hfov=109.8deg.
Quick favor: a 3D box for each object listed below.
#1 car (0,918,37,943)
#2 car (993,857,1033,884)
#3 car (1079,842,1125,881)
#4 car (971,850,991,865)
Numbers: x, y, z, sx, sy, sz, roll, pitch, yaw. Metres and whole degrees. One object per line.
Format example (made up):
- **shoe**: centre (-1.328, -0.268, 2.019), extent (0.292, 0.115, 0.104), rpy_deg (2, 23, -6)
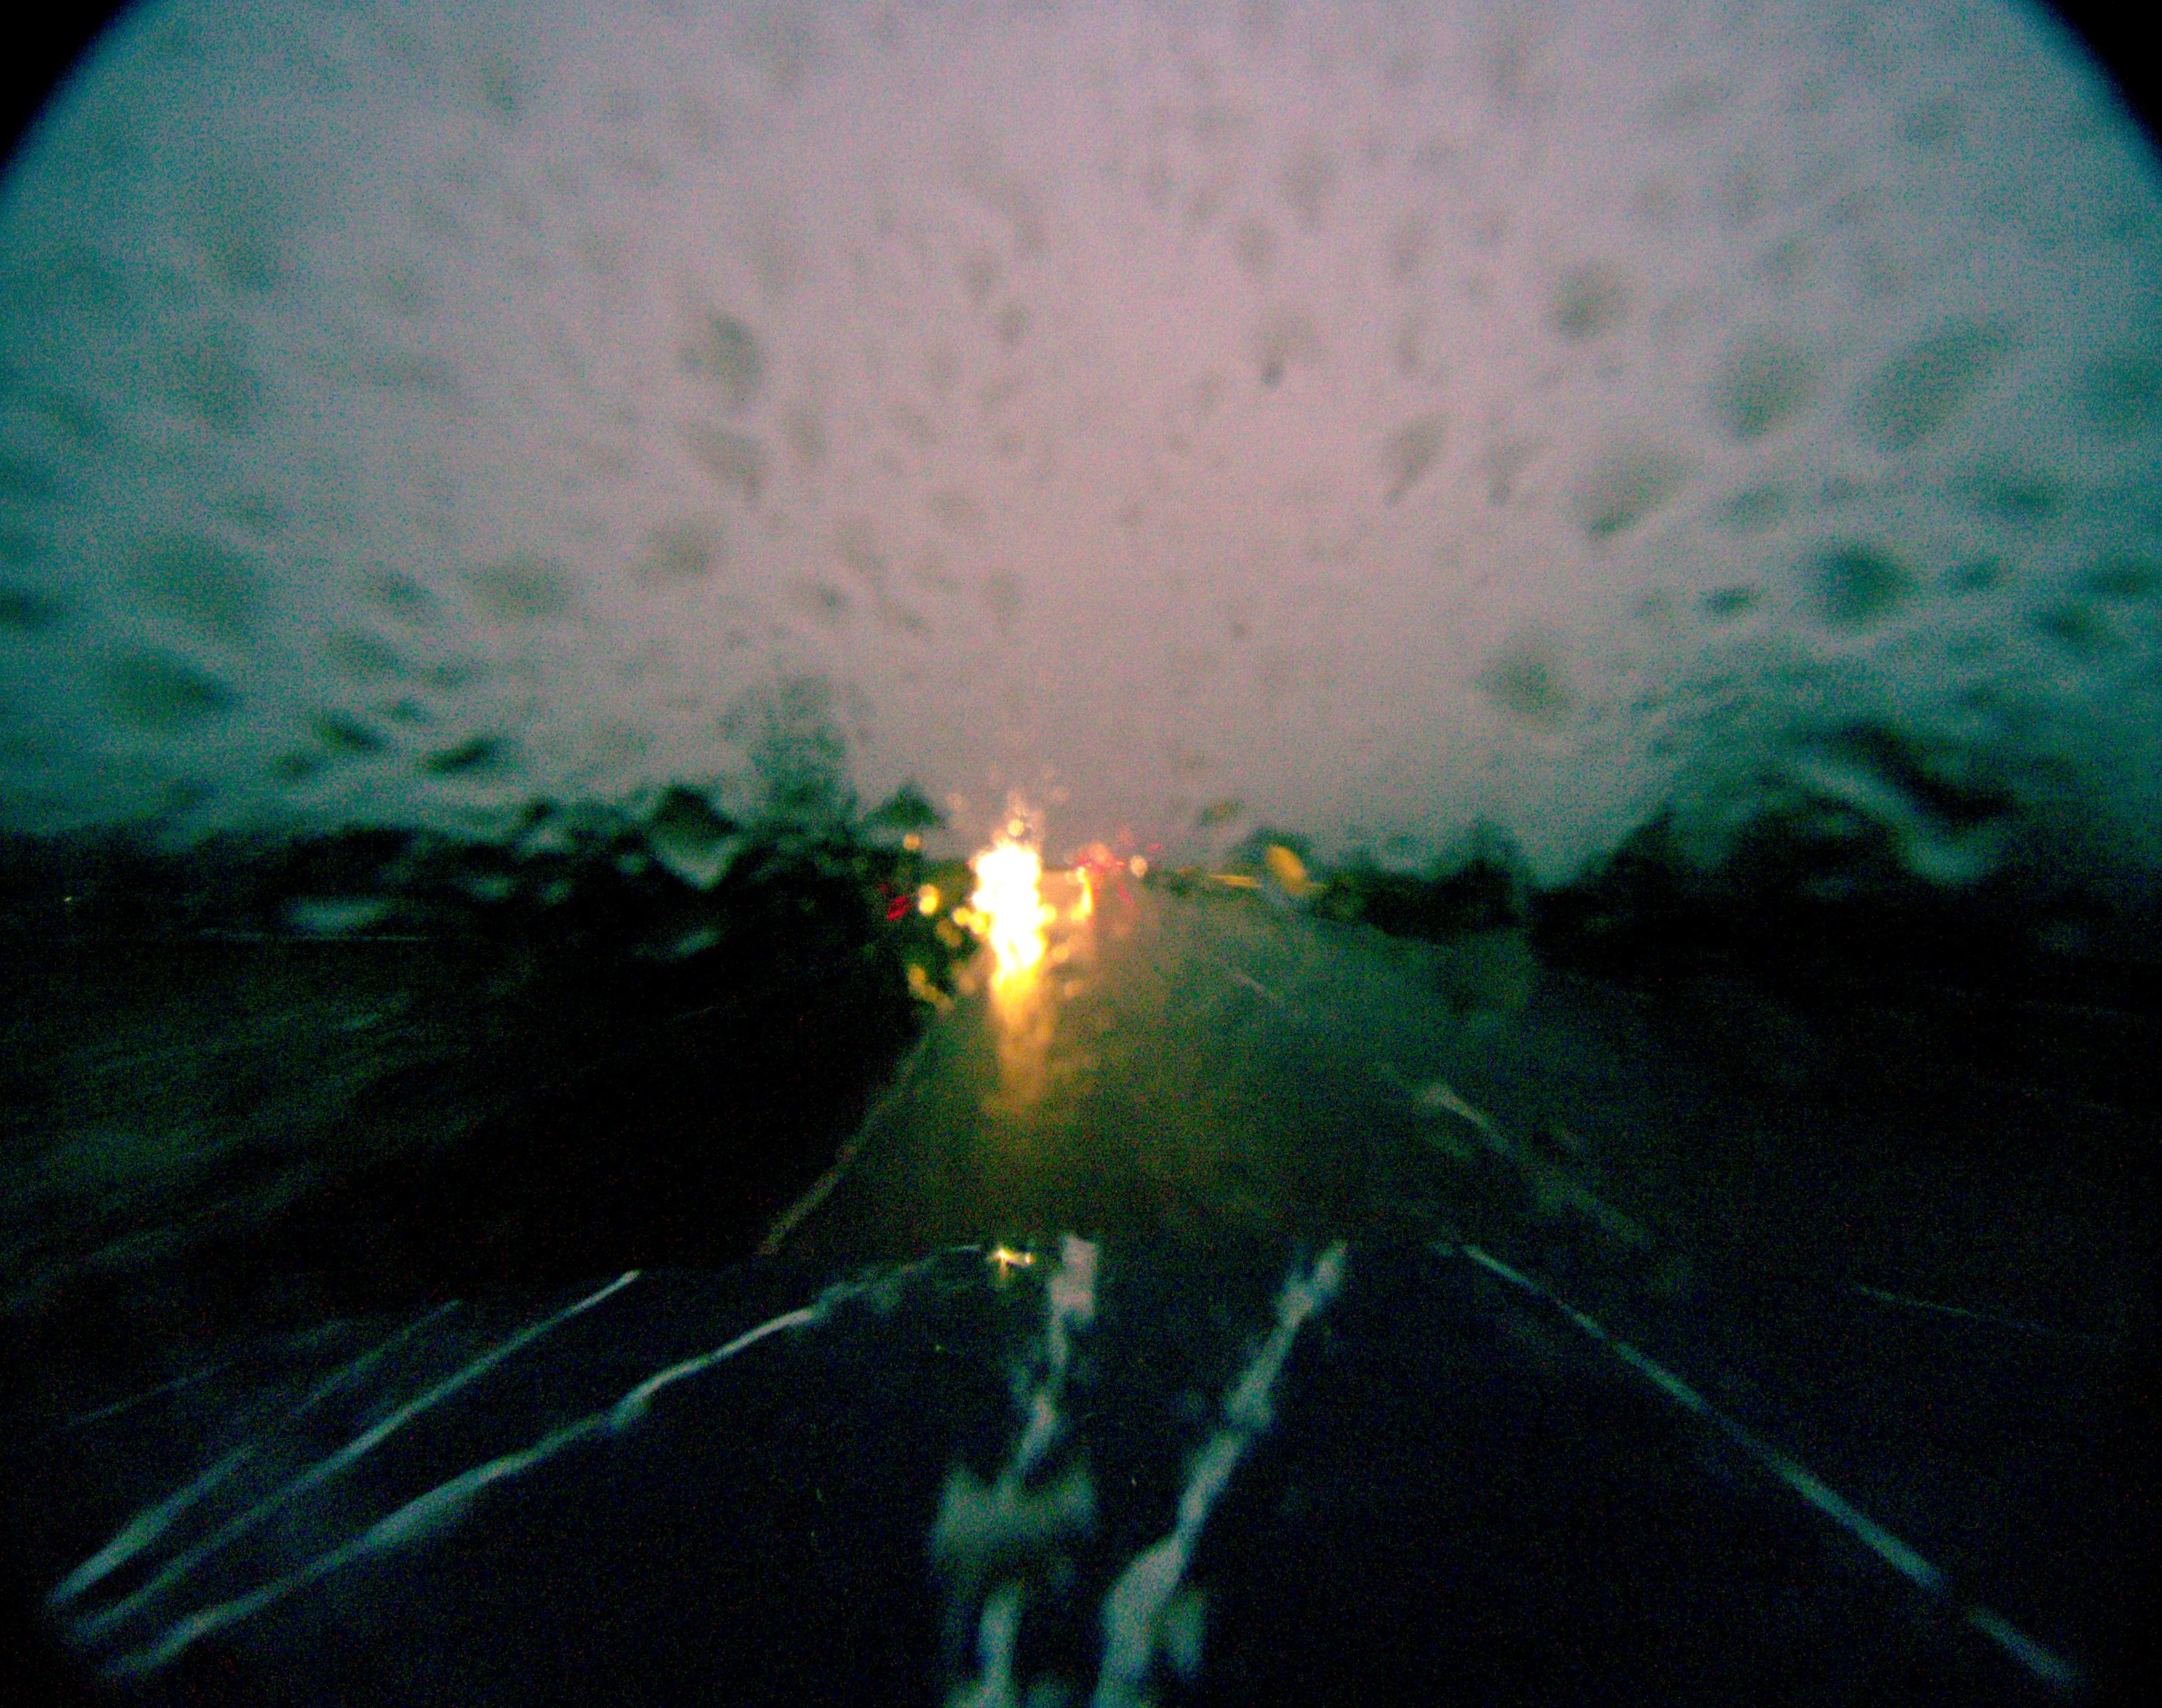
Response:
- **car**: centre (-87.939, 6.266, 62.520), extent (3.988, 1.717, 2.004), rpy_deg (-1, 0, 41)
- **car**: centre (-4.547, 1.131, 50.187), extent (2.104, 1.565, 4.797), rpy_deg (1, -3, -11)
- **car**: centre (1.002, 0.368, 38.749), extent (1.889, 1.852, 5.004), rpy_deg (-1, 0, -4)
- **car**: centre (-11.388, 0.413, 86.562), extent (2.017, 1.625, 4.869), rpy_deg (-1, 0, -10)
